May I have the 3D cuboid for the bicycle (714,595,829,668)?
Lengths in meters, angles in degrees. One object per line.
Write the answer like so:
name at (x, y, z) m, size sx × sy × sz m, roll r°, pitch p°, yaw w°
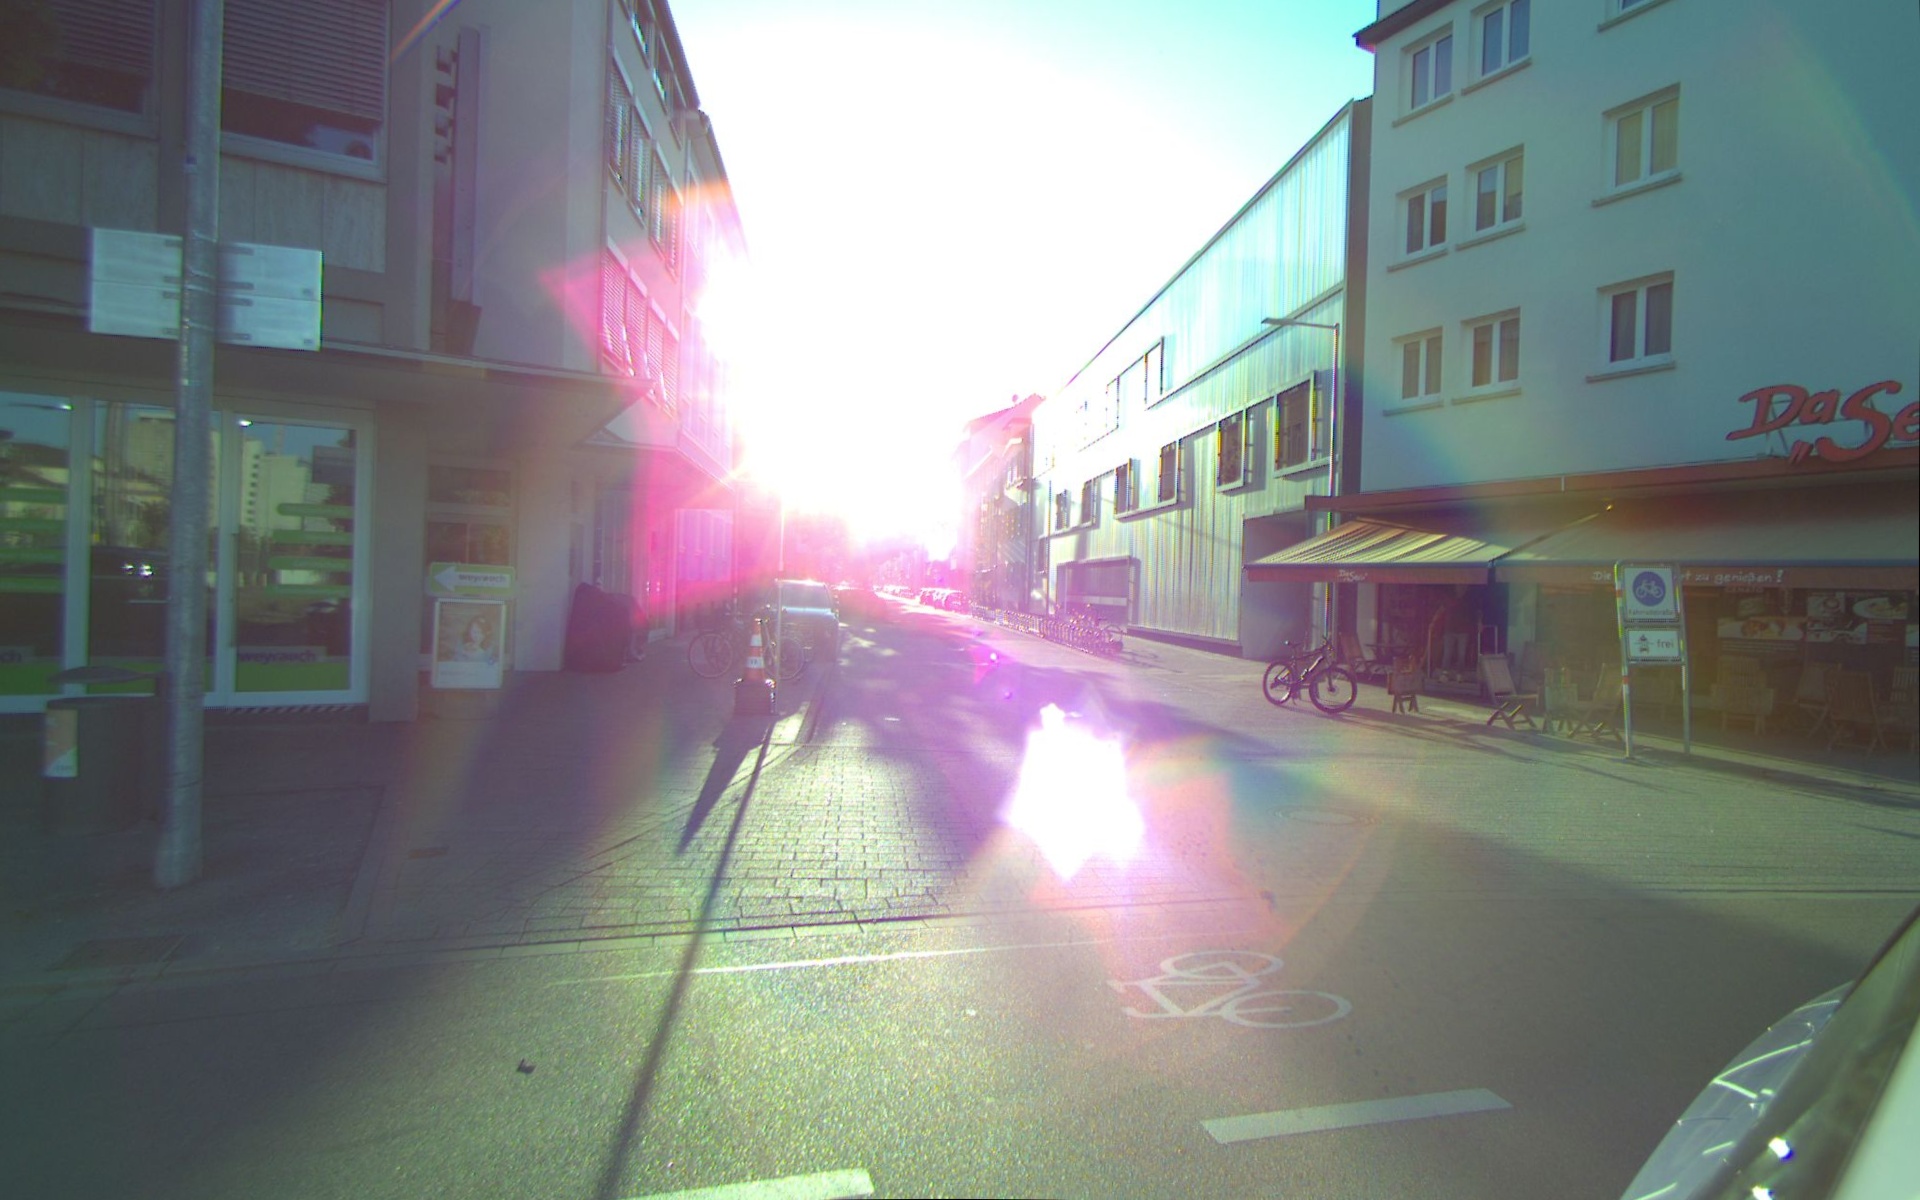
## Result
bicycle at (-3.314, 0.554, 17.813) m, size 1.880 × 1.127 × 0.629 m, roll 5°, pitch -2°, yaw -11°

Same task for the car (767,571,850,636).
car at (-4.461, 0.076, 30.464) m, size 1.961 × 1.641 × 4.266 m, roll 5°, pitch 0°, yaw -3°

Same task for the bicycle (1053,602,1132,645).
bicycle at (4.012, 0.705, 30.691) m, size 2.295 × 1.247 × 0.607 m, roll 0°, pitch 1°, yaw -11°

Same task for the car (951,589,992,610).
car at (0.749, -0.038, 68.419) m, size 2.635 × 1.377 × 1.450 m, roll 1°, pitch -1°, yaw -3°

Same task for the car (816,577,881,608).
car at (-7.557, -0.474, 68.776) m, size 3.922 × 2.002 × 1.867 m, roll 1°, pitch -1°, yaw -33°

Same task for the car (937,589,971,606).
car at (-0.504, -0.192, 78.572) m, size 2.534 × 1.317 × 1.299 m, roll 1°, pitch -1°, yaw -5°

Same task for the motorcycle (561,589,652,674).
motorcycle at (-5.353, 0.440, 15.477) m, size 0.794 × 1.183 × 2.298 m, roll 1°, pitch 1°, yaw -6°

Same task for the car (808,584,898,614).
car at (-5.266, -0.050, 50.174) m, size 4.084 × 1.362 × 1.996 m, roll 1°, pitch 1°, yaw -44°

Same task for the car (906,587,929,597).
car at (-5.223, -1.012, 124.145) m, size 2.634 × 1.183 × 1.451 m, roll 2°, pitch 1°, yaw -6°

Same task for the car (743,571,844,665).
car at (-3.583, 0.348, 22.484) m, size 1.881 × 1.773 × 4.444 m, roll 4°, pitch 0°, yaw -6°

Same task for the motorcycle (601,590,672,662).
motorcycle at (-5.658, 0.419, 17.827) m, size 0.724 × 1.172 × 2.278 m, roll 2°, pitch 0°, yaw -6°

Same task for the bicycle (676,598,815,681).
bicycle at (-3.256, 0.601, 15.423) m, size 1.965 × 1.127 × 0.586 m, roll 4°, pitch 0°, yaw -11°

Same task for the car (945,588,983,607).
car at (0.274, -0.174, 73.449) m, size 2.635 × 1.262 × 1.450 m, roll 1°, pitch -1°, yaw -3°

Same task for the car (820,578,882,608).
car at (-7.747, -0.471, 71.959) m, size 3.922 × 2.039 × 1.846 m, roll 1°, pitch -1°, yaw -33°

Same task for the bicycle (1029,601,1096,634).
bicycle at (3.628, 0.631, 35.836) m, size 2.295 × 1.155 × 0.529 m, roll 1°, pitch -1°, yaw -11°

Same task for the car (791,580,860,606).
car at (-8.654, -0.422, 65.099) m, size 3.922 × 1.527 × 2.001 m, roll 1°, pitch 1°, yaw -33°

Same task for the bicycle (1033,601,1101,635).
bicycle at (3.732, 0.628, 35.261) m, size 2.295 × 1.159 × 0.529 m, roll 1°, pitch -1°, yaw -11°

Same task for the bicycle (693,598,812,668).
bicycle at (-3.428, 0.542, 16.749) m, size 1.880 × 1.127 × 0.629 m, roll 1°, pitch -1°, yaw -11°

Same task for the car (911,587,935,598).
car at (-4.407, -0.886, 119.978) m, size 2.634 × 1.262 × 1.451 m, roll 2°, pitch 0°, yaw -6°

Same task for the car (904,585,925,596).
car at (-5.906, -1.238, 130.433) m, size 2.634 × 1.295 × 1.267 m, roll 1°, pitch -1°, yaw -6°

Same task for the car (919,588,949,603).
car at (-2.392, -0.397, 91.912) m, size 2.634 × 1.262 × 1.451 m, roll 1°, pitch -1°, yaw -6°

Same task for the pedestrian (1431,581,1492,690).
pedestrian at (8.779, 0.603, 17.722) m, size 0.749 × 1.849 × 0.715 m, roll 0°, pitch 0°, yaw -41°

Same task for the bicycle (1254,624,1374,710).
bicycle at (5.391, 0.984, 15.538) m, size 0.525 × 1.174 × 1.914 m, roll 1°, pitch 0°, yaw -25°

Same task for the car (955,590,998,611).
car at (1.070, 0.036, 64.960) m, size 2.635 × 1.262 × 1.450 m, roll 1°, pitch -1°, yaw -3°

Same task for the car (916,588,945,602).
car at (-2.822, -0.457, 96.703) m, size 2.634 × 1.262 × 1.405 m, roll 1°, pitch -1°, yaw -6°
